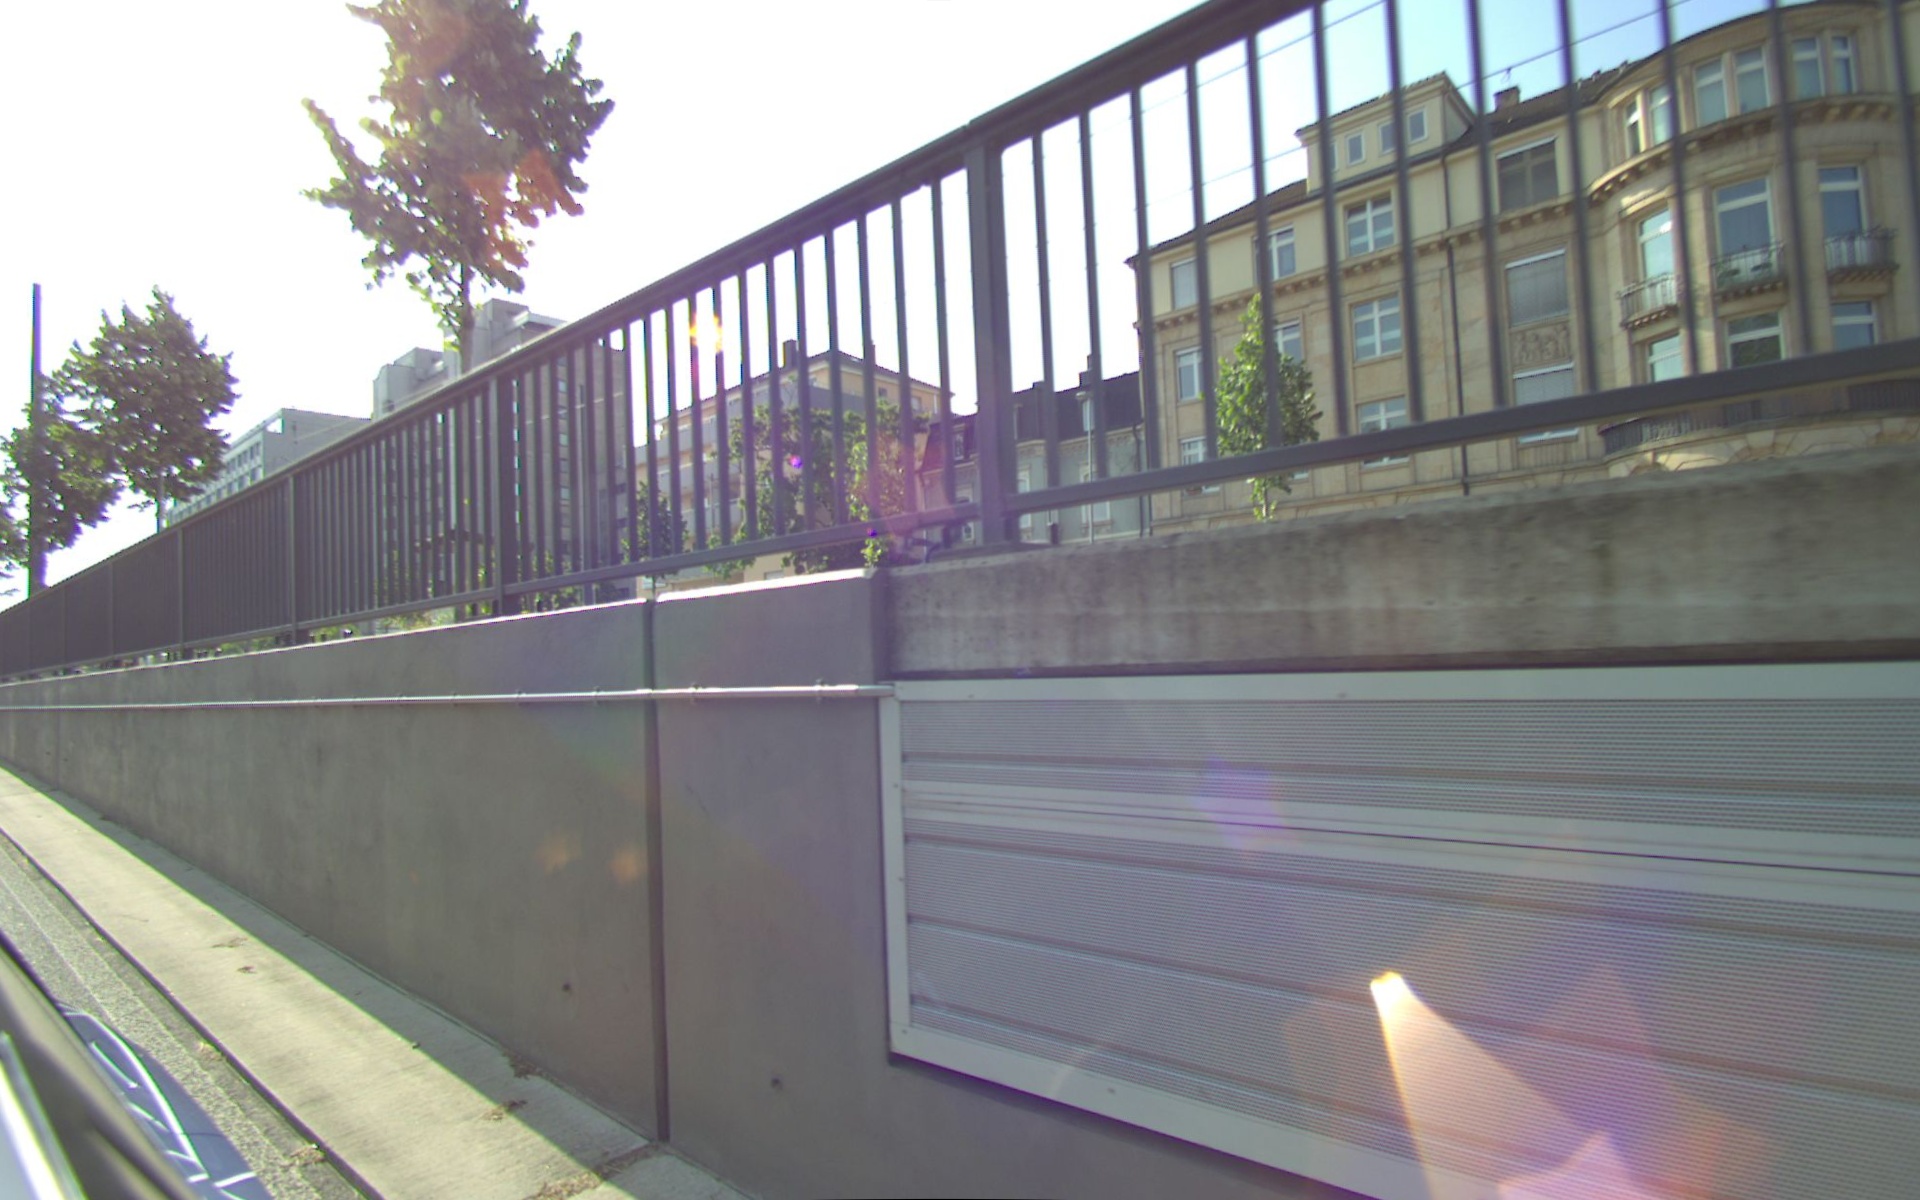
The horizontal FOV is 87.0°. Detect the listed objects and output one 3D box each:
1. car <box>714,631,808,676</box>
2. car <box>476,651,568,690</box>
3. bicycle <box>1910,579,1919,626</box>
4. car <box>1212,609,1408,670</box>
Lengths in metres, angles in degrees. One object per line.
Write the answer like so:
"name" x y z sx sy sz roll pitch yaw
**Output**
"car" -7.815 2.094 39.526 3.821 1.475 1.503 -7 -6 40
"car" -19.456 3.128 44.877 4.394 1.525 1.973 -6 -5 40
"bicycle" 20.648 0.016 20.393 2.146 0.933 0.654 -3 2 42
"car" 9.163 1.059 26.695 4.436 1.478 1.972 -4 -3 42
